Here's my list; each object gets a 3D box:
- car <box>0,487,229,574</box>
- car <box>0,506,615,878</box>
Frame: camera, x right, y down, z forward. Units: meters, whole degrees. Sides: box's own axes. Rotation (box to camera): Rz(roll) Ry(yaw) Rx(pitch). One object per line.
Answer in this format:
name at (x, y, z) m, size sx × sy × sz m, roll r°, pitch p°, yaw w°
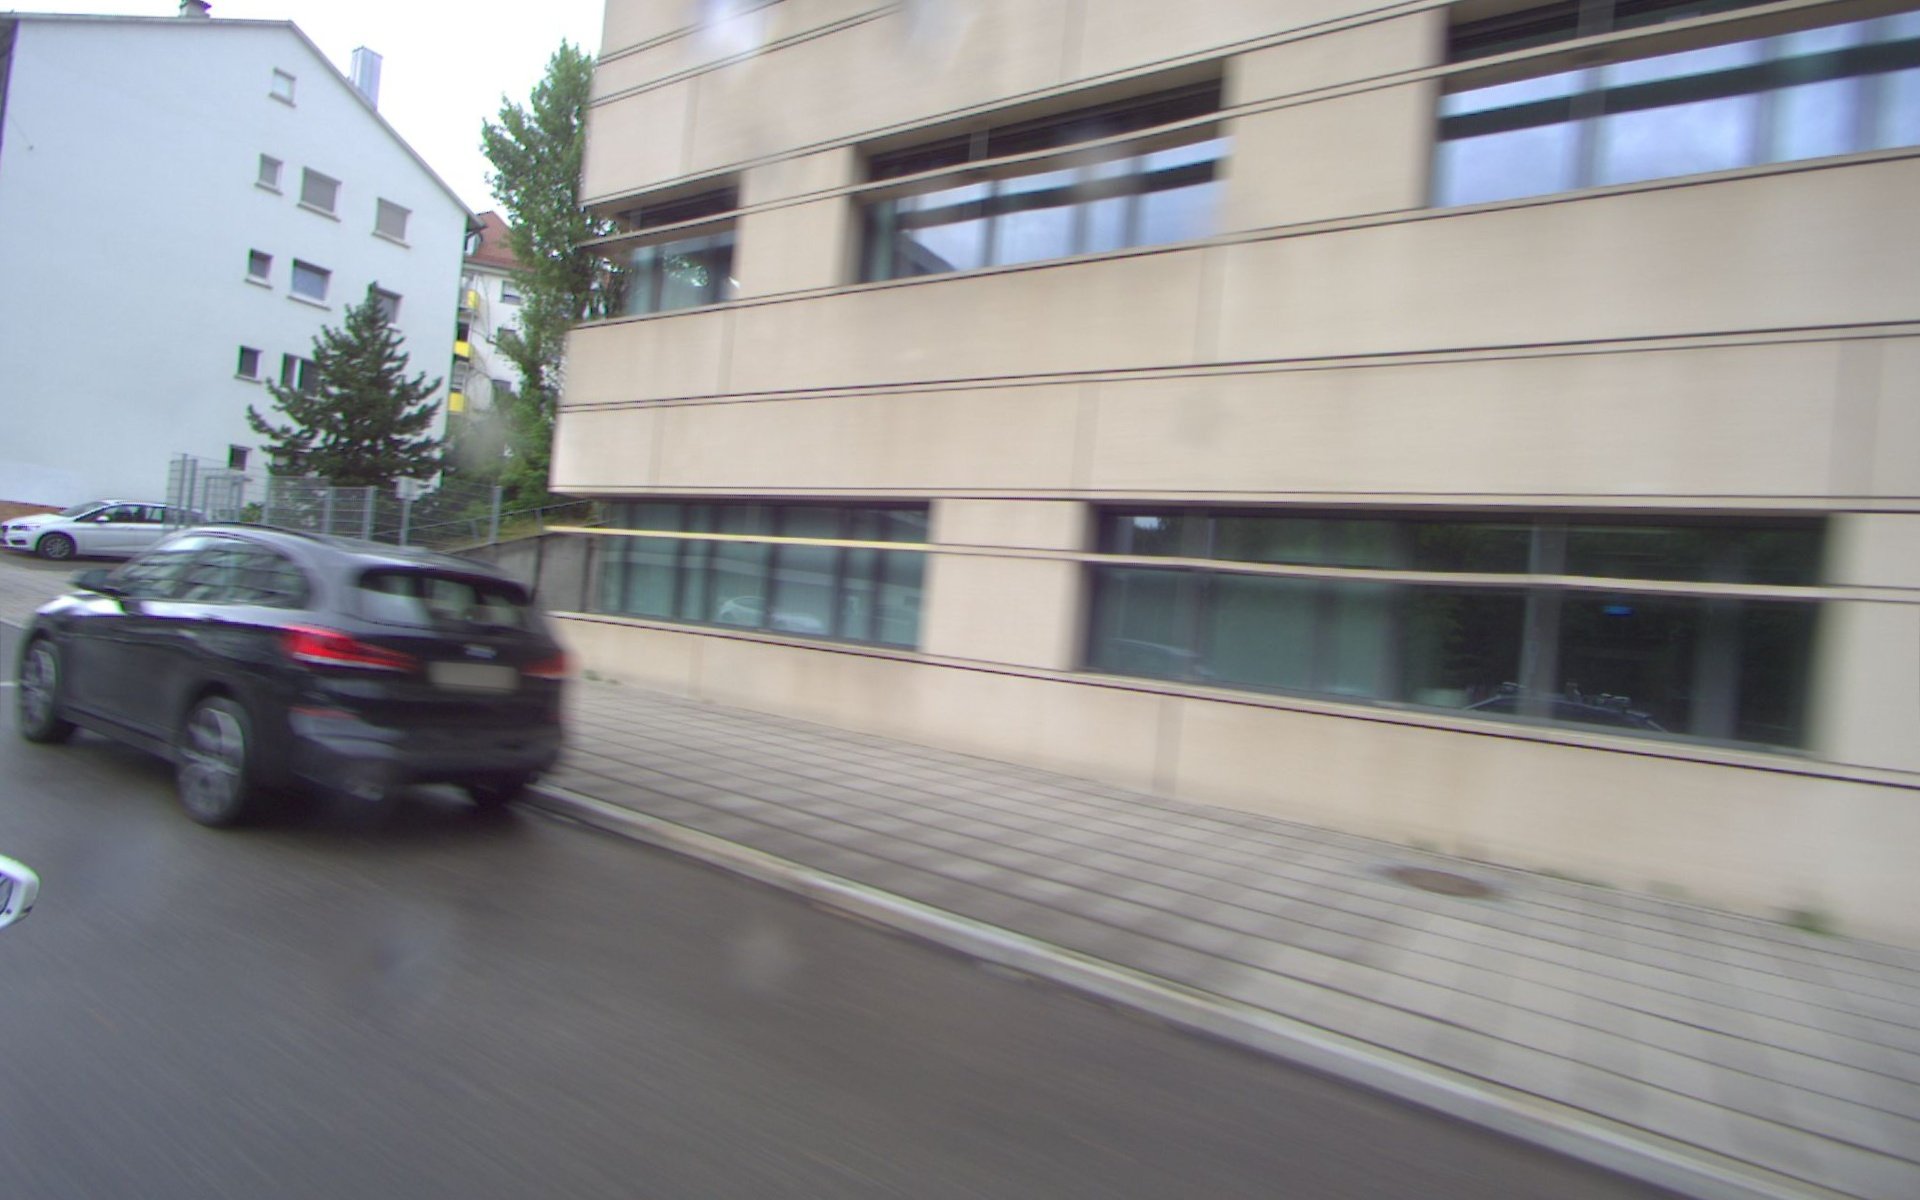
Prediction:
car at (-21.851, -1.742, 25.911) m, size 1.874 × 1.735 × 4.439 m, roll 7°, pitch 1°, yaw 32°
car at (-4.481, 0.422, 6.610) m, size 4.248 × 1.551 × 1.747 m, roll 7°, pitch -2°, yaw 32°
